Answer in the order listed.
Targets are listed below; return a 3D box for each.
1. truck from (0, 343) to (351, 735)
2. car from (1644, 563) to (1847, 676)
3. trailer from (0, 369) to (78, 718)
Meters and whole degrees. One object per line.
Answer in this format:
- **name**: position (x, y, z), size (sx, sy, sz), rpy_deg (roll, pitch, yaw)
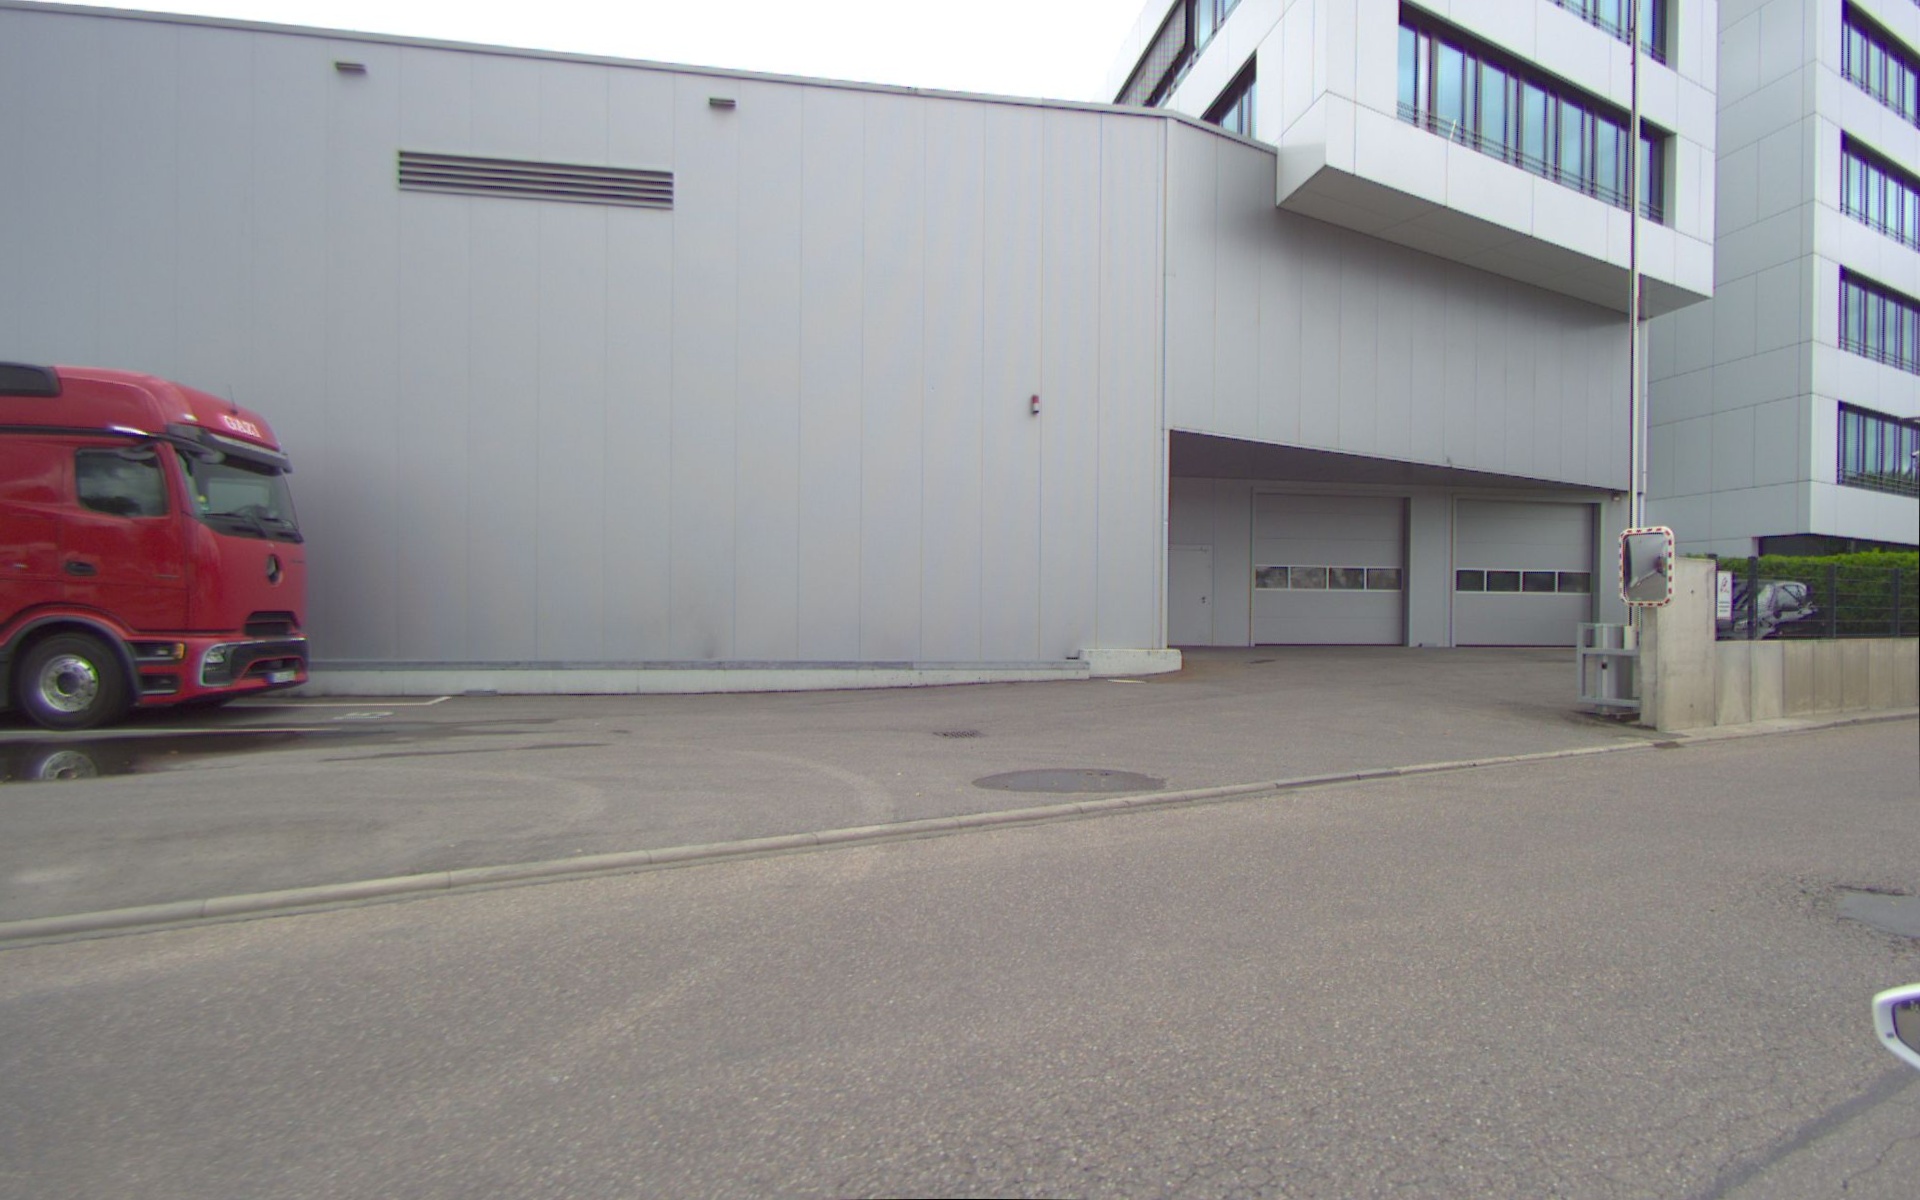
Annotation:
- **truck**: position (-11.448, -0.644, 11.619), size (6.964, 4.085, 2.746), rpy_deg (0, 0, -10)
- **car**: position (13.602, 0.308, 17.383), size (3.140, 1.785, 1.643), rpy_deg (1, 1, -29)
- **trailer**: position (-17.326, -0.705, 10.604), size (12.389, 4.085, 2.746), rpy_deg (0, 0, -10)
